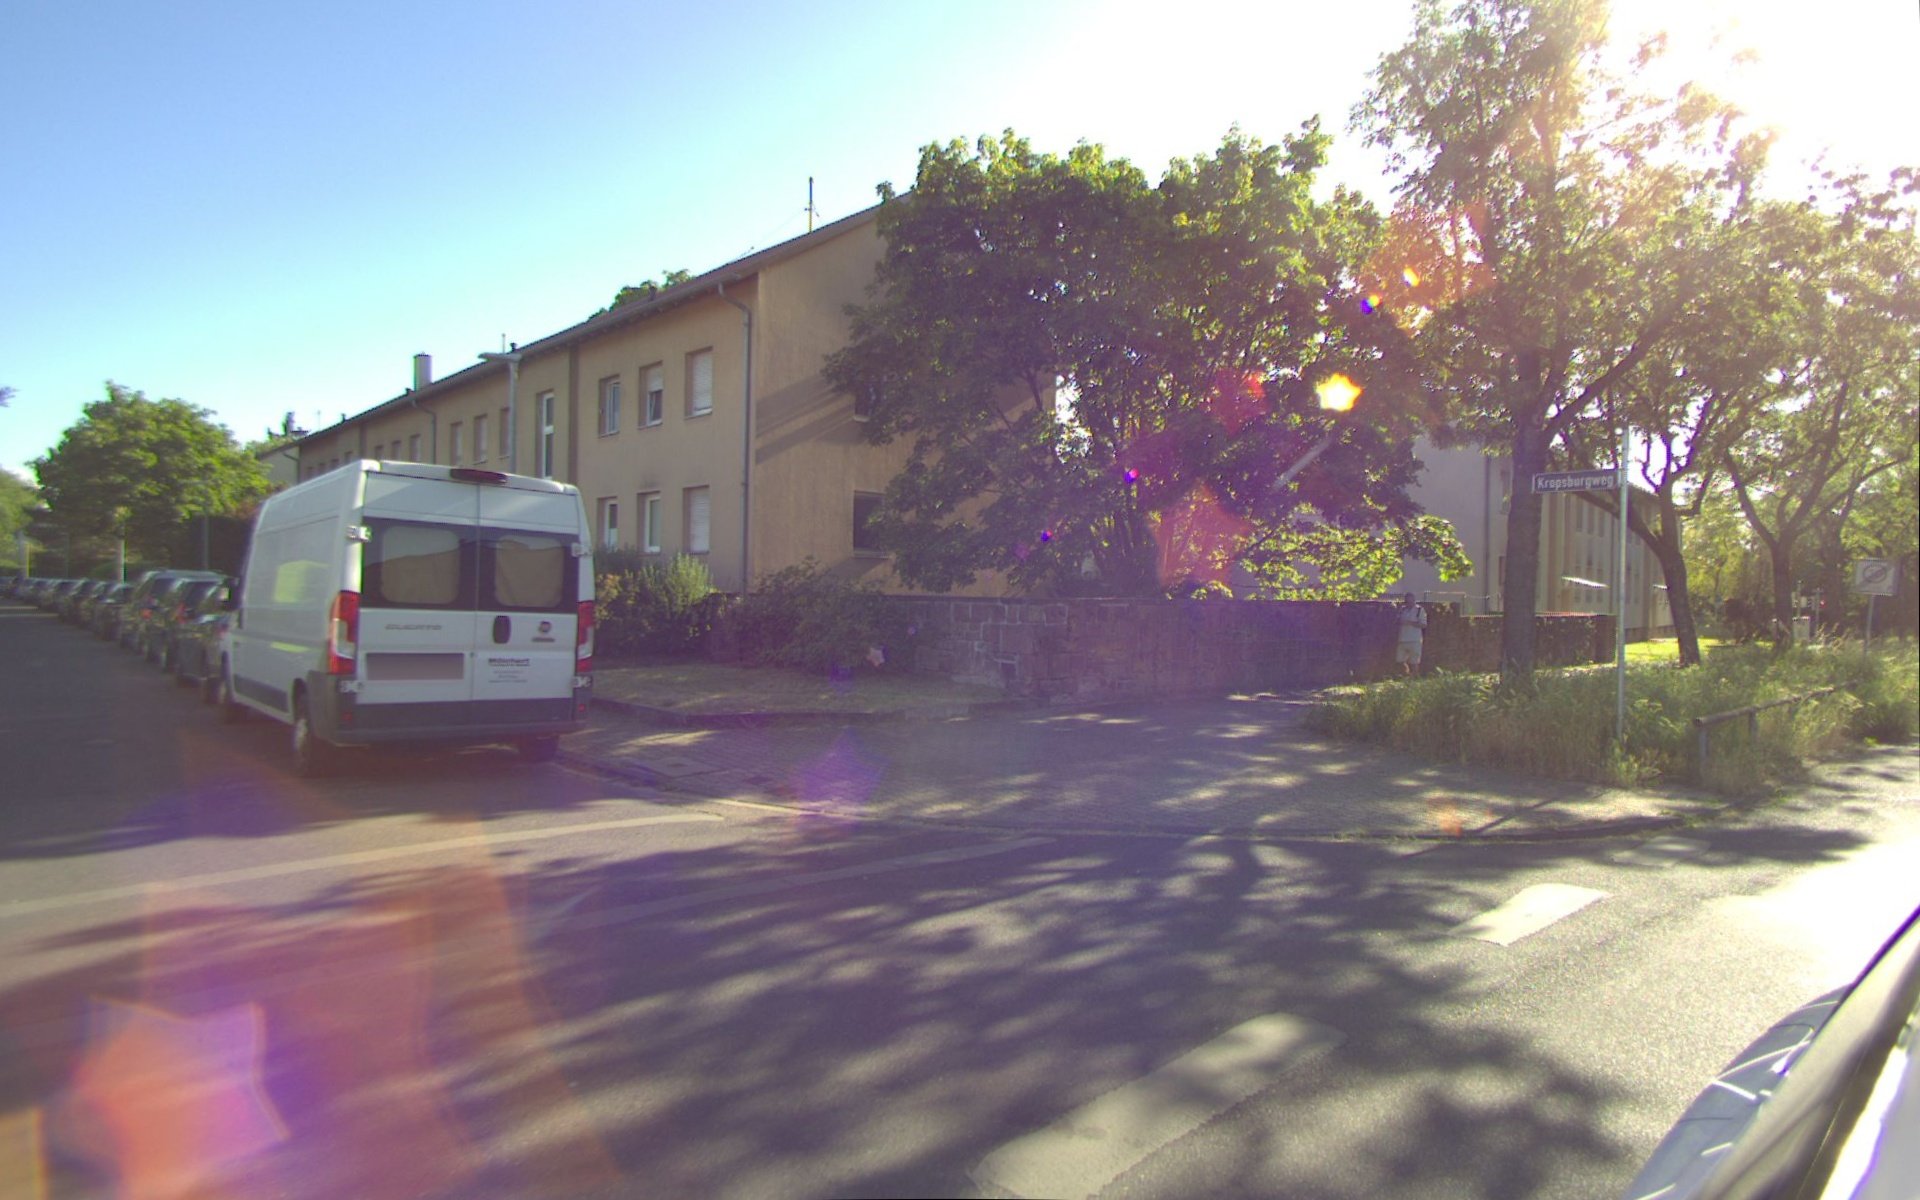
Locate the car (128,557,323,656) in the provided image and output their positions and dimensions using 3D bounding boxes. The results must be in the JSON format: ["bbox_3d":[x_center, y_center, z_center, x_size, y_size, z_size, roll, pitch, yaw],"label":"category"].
[{"bbox_3d":[-13.804,0.141,18.900,2.247,1.602,4.743,2,-2,-44],"label":"car"}]

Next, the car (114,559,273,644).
[{"bbox_3d":[-17.333,0.079,22.797,2.247,1.708,4.743,2,-2,-44],"label":"car"}]

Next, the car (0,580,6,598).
[{"bbox_3d":[-90.476,-1.044,94.242,2.247,1.669,4.743,2,-2,-44],"label":"car"}]

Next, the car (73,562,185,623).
[{"bbox_3d":[-25.729,-0.181,31.270,2.247,1.708,4.743,2,-2,-44],"label":"car"}]

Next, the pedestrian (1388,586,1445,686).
[{"bbox_3d":[8.150,0.632,18.078,0.601,1.727,0.638,3,1,-43],"label":"pedestrian"}]

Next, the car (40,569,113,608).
[{"bbox_3d":[-40.371,-0.479,46.202,2.247,1.669,4.743,2,-2,-44],"label":"car"}]

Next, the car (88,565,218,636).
[{"bbox_3d":[-21.686,0.052,27.121,2.247,1.708,4.743,2,-2,-44],"label":"car"}]

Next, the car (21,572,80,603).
[{"bbox_3d":[-52.122,-0.670,57.965,2.247,1.669,4.743,2,-2,-44],"label":"car"}]

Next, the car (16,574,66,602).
[{"bbox_3d":[-60.830,-0.772,66.949,2.247,1.669,4.743,2,-2,-44],"label":"car"}]

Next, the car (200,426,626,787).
[{"bbox_3d":[-5.655,-0.004,9.994,2.228,2.571,5.599,1,0,-44],"label":"car"}]

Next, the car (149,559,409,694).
[{"bbox_3d":[-9.861,0.357,14.478,2.247,1.602,4.743,2,-2,-44],"label":"car"}]

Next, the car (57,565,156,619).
[{"bbox_3d":[-29.505,-0.231,34.935,2.247,1.669,4.743,2,-2,-44],"label":"car"}]

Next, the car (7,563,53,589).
[{"bbox_3d":[-66.770,-1.673,72.617,2.247,1.669,4.743,2,-2,-44],"label":"car"}]
